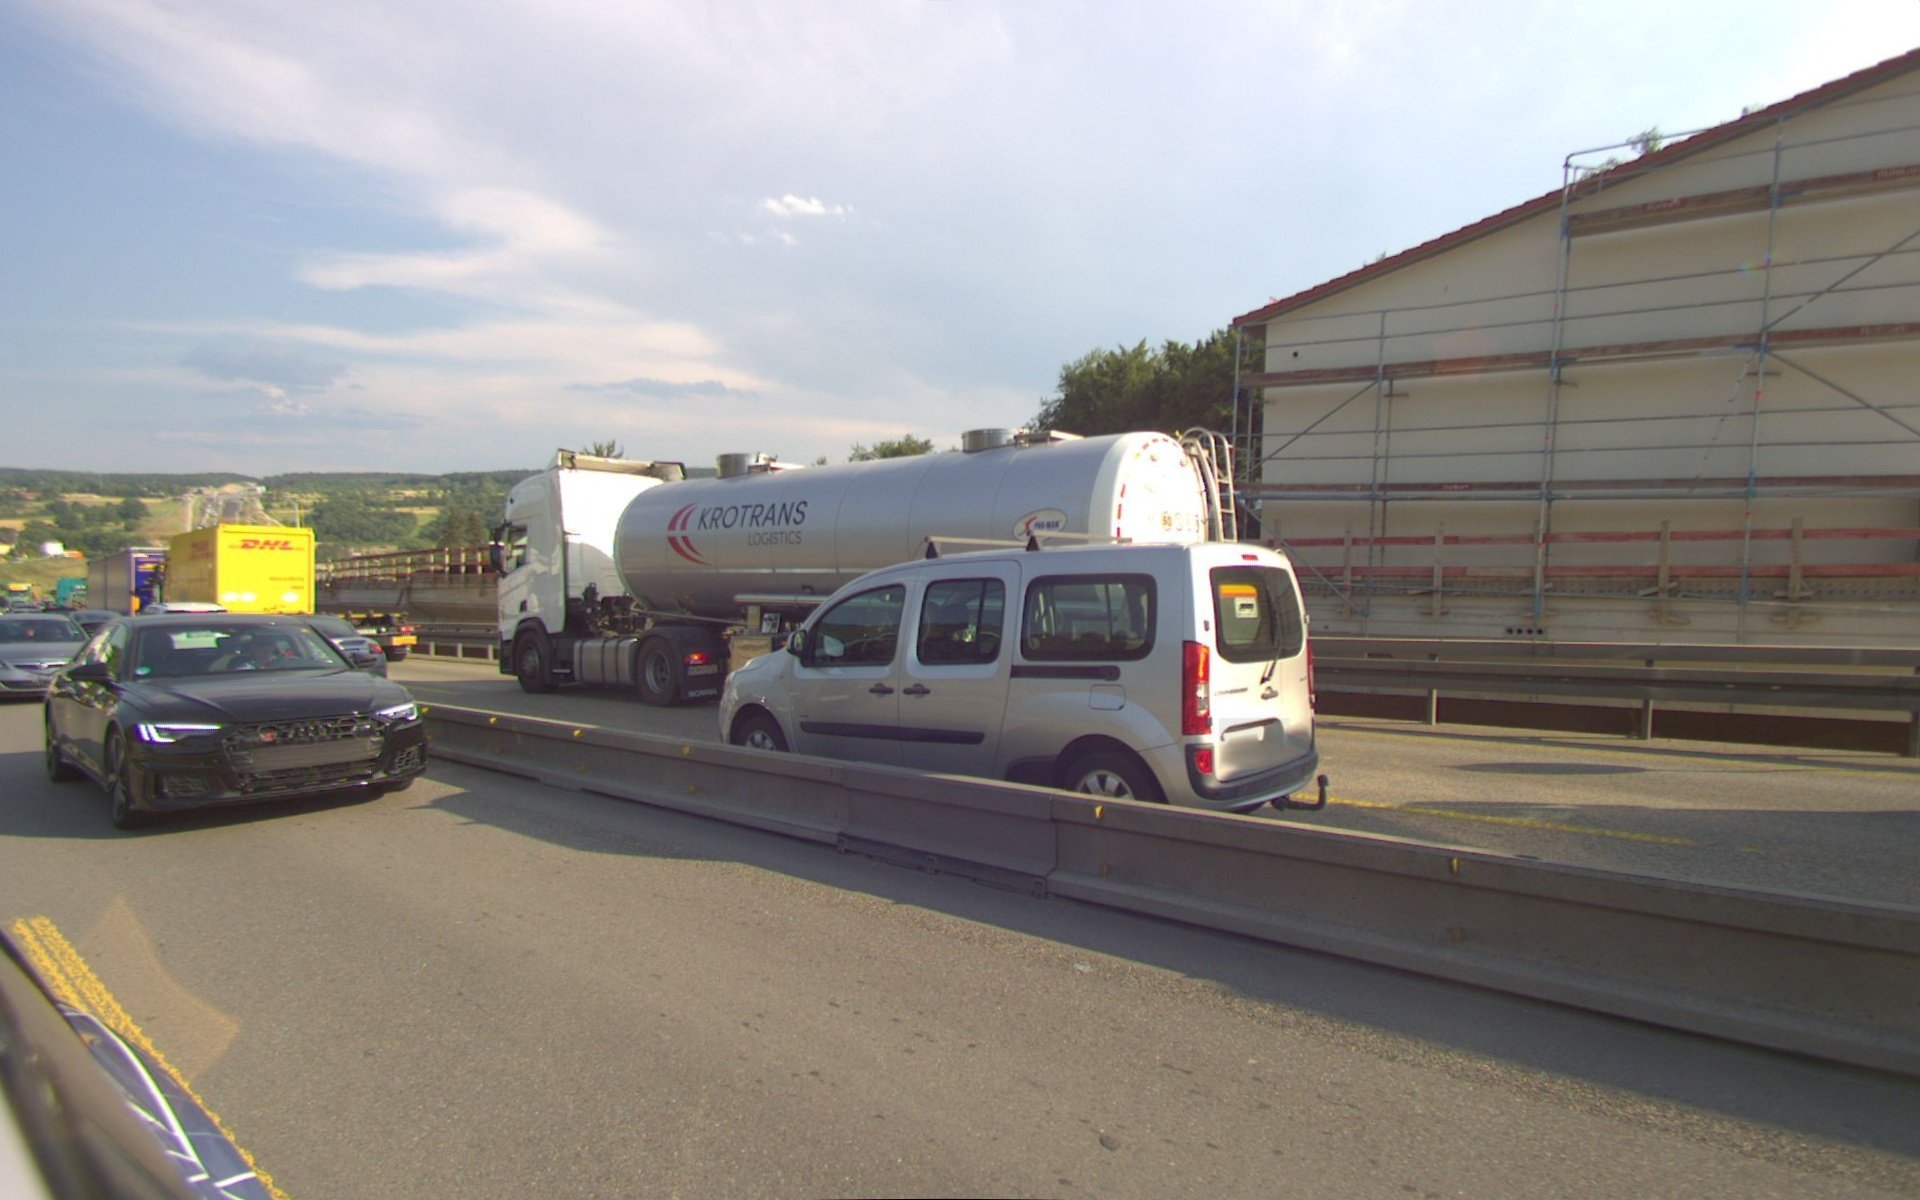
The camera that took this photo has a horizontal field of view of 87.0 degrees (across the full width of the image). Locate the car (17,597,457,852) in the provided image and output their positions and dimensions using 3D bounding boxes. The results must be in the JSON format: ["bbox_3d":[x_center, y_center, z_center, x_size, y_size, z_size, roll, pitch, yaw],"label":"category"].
[{"bbox_3d":[-6.264,0.746,8.457,5.221,1.491,1.919,0,-1,42],"label":"car"}]

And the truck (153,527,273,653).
[{"bbox_3d":[-26.886,-0.352,36.373,4.398,4.228,2.664,1,0,43],"label":"truck"}]

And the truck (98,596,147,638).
[{"bbox_3d":[-88.724,1.740,107.089,3.121,4.154,12.504,2,-1,-43],"label":"truck"}]

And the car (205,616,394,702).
[{"bbox_3d":[-11.475,0.941,17.489,4.049,1.262,1.693,0,-1,41],"label":"car"}]

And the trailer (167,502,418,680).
[{"bbox_3d":[-20.675,-0.278,30.518,15.999,4.235,2.671,1,0,43],"label":"trailer"}]

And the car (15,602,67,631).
[{"bbox_3d":[-51.177,0.885,56.331,4.617,1.464,1.777,1,0,43],"label":"car"}]

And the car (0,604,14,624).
[{"bbox_3d":[-100.389,1.479,105.981,1.802,1.948,5.135,4,-2,-44],"label":"car"}]

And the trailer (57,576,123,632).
[{"bbox_3d":[-65.537,0.307,76.050,2.717,3.845,16.059,2,-1,-44],"label":"trailer"}]

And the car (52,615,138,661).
[{"bbox_3d":[-30.007,1.257,35.063,4.903,1.412,1.720,1,0,43],"label":"car"}]

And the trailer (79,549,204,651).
[{"bbox_3d":[-39.254,-0.073,48.155,16.759,4.166,2.684,1,0,44],"label":"trailer"}]

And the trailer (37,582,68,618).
[{"bbox_3d":[-115.315,-0.015,128.614,2.876,4.499,7.161,-1,1,-42],"label":"trailer"}]

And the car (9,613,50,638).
[{"bbox_3d":[-60.830,1.645,66.140,4.727,1.509,1.768,1,0,45],"label":"car"}]

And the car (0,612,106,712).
[{"bbox_3d":[-15.911,0.969,17.163,4.120,1.498,1.785,0,0,44],"label":"car"}]

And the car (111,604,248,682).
[{"bbox_3d":[-18.711,0.953,24.193,4.559,1.660,1.826,0,-1,43],"label":"car"}]

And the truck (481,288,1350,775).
[{"bbox_3d":[-2.117,-0.536,13.944,13.886,4.000,2.780,0,0,41],"label":"truck"}]

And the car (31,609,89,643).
[{"bbox_3d":[-42.752,1.202,48.040,4.293,1.519,1.697,1,0,44],"label":"car"}]

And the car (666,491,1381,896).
[{"bbox_3d":[0.142,0.485,7.080,4.860,1.931,1.815,-1,-1,39],"label":"car"}]

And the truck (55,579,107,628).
[{"bbox_3d":[-71.305,0.304,82.016,2.717,3.834,7.117,2,-1,-44],"label":"truck"}]

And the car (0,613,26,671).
[{"bbox_3d":[-26.394,1.108,26.979,3.998,1.452,1.799,-1,1,42],"label":"car"}]
